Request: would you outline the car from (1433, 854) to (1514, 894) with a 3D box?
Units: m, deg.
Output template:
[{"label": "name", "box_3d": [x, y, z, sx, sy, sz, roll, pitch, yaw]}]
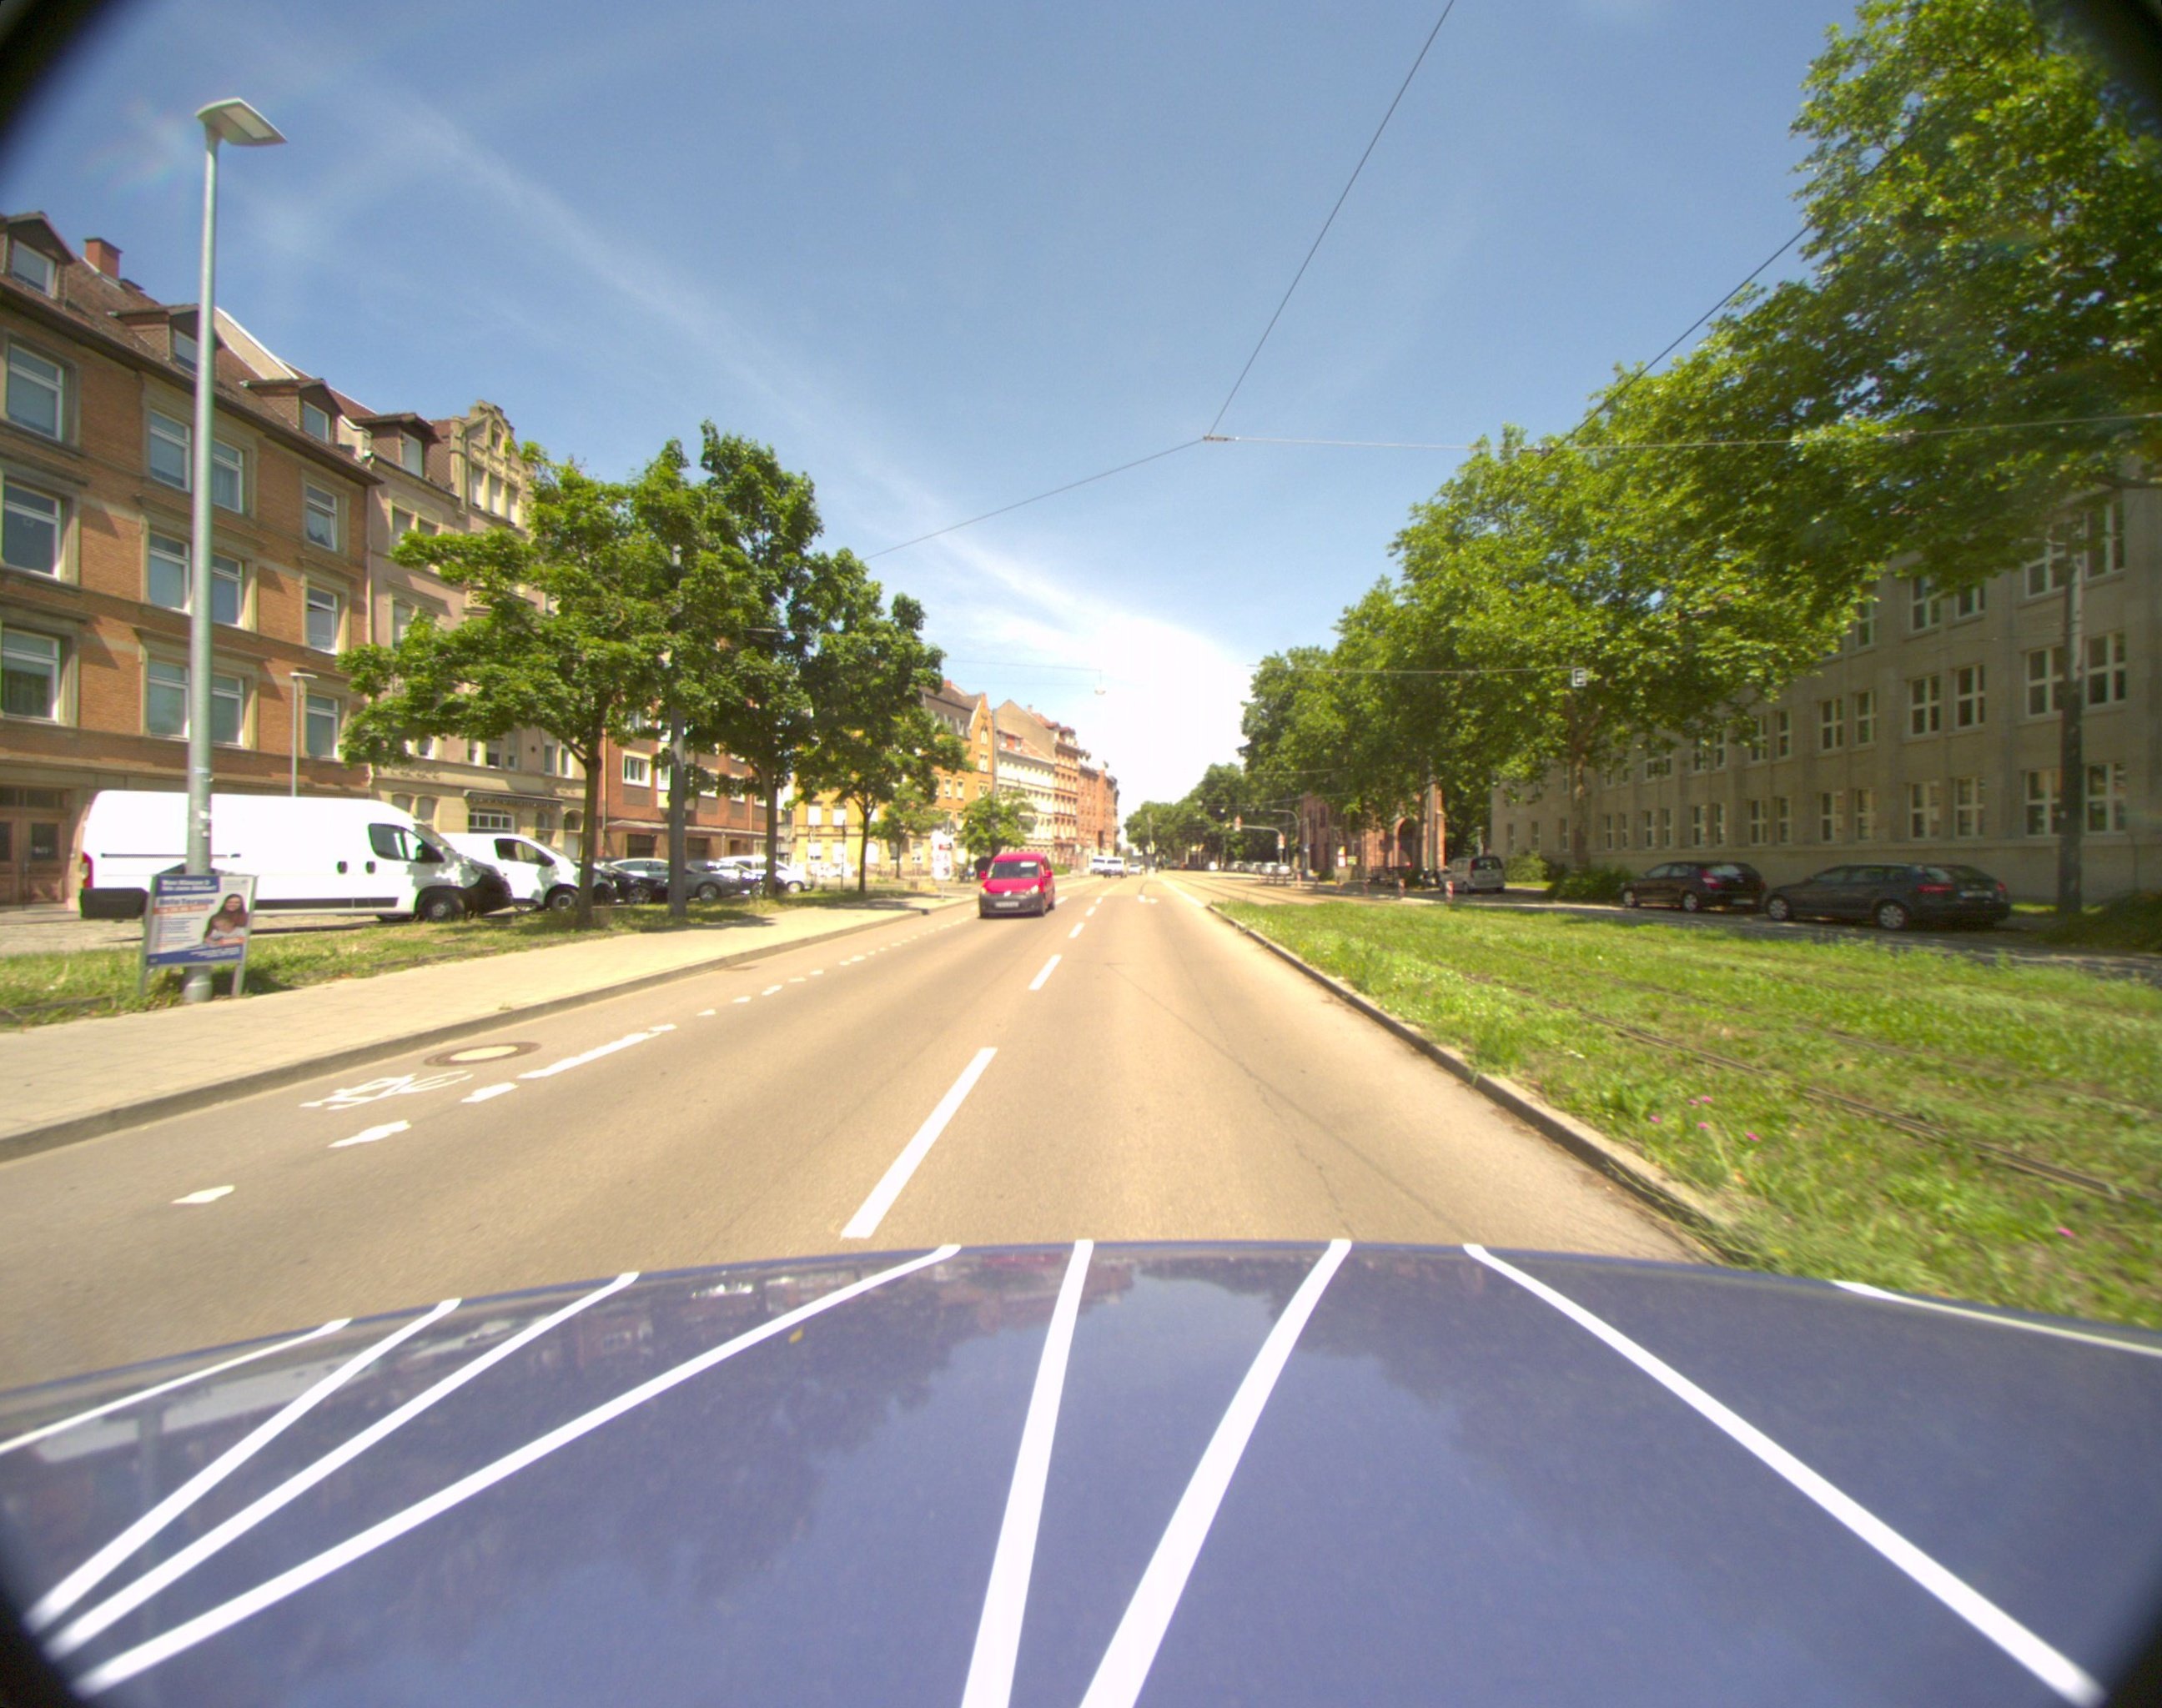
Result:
[{"label": "car", "box_3d": [18.909, 0.913, 36.800, 1.998, 1.800, 4.303, -1, 0, 6]}]

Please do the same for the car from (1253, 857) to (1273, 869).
[{"label": "car", "box_3d": [22.622, 1.080, 94.568, 1.662, 1.450, 4.059, -1, 0, 3]}]

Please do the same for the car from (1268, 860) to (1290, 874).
[{"label": "car", "box_3d": [22.031, 1.458, 84.628, 1.662, 1.450, 4.222, -1, 0, 4]}]

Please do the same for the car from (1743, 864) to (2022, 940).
[{"label": "car", "box_3d": [17.329, 0.947, 16.802, 1.592, 1.415, 4.323, -1, 0, 0]}]

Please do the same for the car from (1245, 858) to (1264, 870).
[{"label": "car", "box_3d": [22.804, 1.315, 99.942, 1.747, 1.450, 3.754, -1, 0, 3]}]

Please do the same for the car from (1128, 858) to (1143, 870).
[{"label": "car", "box_3d": [7.014, 1.252, 97.999, 1.799, 1.564, 4.002, -1, 0, 5]}]

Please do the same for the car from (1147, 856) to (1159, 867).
[{"label": "car", "box_3d": [10.711, 1.070, 113.351, 1.799, 1.564, 4.002, -1, 0, 5]}]

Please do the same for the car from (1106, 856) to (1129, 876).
[{"label": "car", "box_3d": [3.575, 1.170, 74.720, 2.165, 1.926, 4.855, -1, 0, 2]}]

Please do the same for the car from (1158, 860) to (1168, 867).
[{"label": "car", "box_3d": [18.474, 2.148, 171.619, 1.750, 1.386, 4.347, -2, 0, 1]}]

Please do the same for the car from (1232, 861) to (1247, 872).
[{"label": "car", "box_3d": [24.123, 1.905, 115.792, 1.746, 1.643, 3.907, -1, 0, 5]}]

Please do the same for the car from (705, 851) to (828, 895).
[{"label": "car", "box_3d": [-12.621, 0.745, 30.797, 4.416, 1.622, 1.997, -1, 0, -18]}]

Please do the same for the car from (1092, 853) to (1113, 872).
[{"label": "car", "box_3d": [2.832, 1.076, 99.241, 1.997, 2.317, 5.411, 3, 0, 9]}]

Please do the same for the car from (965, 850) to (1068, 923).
[{"label": "car", "box_3d": [-1.708, 0.847, 21.949, 1.858, 1.823, 5.170, -1, 0, 8]}]

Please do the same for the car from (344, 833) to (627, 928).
[{"label": "car", "box_3d": [-13.651, 0.541, 17.875, 4.854, 1.961, 2.072, -1, 0, -25]}]

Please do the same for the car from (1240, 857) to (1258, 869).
[{"label": "car", "box_3d": [23.239, 1.225, 105.311, 1.747, 1.514, 3.754, -1, 0, 3]}]

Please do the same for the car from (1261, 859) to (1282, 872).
[{"label": "car", "box_3d": [22.490, 1.296, 89.680, 1.662, 1.450, 4.060, -1, 0, 4]}]

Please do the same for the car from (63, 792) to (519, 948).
[{"label": "car", "box_3d": [-14.187, 0.235, 14.355, 5.561, 2.446, 2.232, -1, 0, -33]}]

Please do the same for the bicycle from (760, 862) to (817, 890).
[{"label": "bicycle", "box_3d": [-13.167, 0.966, 34.295, 0.739, 1.186, 2.365, -1, 0, 35]}]

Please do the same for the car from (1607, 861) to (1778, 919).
[{"label": "car", "box_3d": [17.717, 0.979, 22.311, 1.766, 1.474, 4.325, -1, 0, 4]}]

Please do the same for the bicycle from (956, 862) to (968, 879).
[{"label": "bicycle", "box_3d": [-8.214, 1.102, 52.406, 0.487, 1.146, 1.709, -1, 0, 1]}]

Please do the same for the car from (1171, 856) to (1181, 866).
[{"label": "car", "box_3d": [21.951, 1.684, 175.386, 1.821, 2.283, 3.762, -1, 0, 1]}]

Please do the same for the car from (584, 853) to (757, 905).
[{"label": "car", "box_3d": [-13.005, 0.759, 24.436, 4.637, 1.488, 1.962, -1, 0, -20]}]

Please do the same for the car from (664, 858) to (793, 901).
[{"label": "car", "box_3d": [-12.645, 0.892, 27.510, 4.003, 1.391, 1.821, -1, 0, -17]}]

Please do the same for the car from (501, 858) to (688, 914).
[{"label": "car", "box_3d": [-13.316, 0.834, 21.085, 4.003, 1.378, 1.821, -1, 0, -17]}]

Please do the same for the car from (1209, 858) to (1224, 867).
[{"label": "car", "box_3d": [24.712, 1.507, 138.794, 1.977, 1.553, 4.000, -1, 0, 1]}]

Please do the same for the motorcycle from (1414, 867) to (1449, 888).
[{"label": "motorcycle", "box_3d": [19.203, 1.275, 41.656, 1.874, 1.062, 0.726, -2, 1, -27]}]

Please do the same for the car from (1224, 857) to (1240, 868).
[{"label": "car", "box_3d": [24.407, 1.373, 123.111, 1.998, 1.707, 4.001, -1, 0, 4]}]

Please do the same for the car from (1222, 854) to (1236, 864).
[{"label": "car", "box_3d": [25.039, 0.798, 128.716, 1.825, 1.681, 3.733, -1, 0, 3]}]
